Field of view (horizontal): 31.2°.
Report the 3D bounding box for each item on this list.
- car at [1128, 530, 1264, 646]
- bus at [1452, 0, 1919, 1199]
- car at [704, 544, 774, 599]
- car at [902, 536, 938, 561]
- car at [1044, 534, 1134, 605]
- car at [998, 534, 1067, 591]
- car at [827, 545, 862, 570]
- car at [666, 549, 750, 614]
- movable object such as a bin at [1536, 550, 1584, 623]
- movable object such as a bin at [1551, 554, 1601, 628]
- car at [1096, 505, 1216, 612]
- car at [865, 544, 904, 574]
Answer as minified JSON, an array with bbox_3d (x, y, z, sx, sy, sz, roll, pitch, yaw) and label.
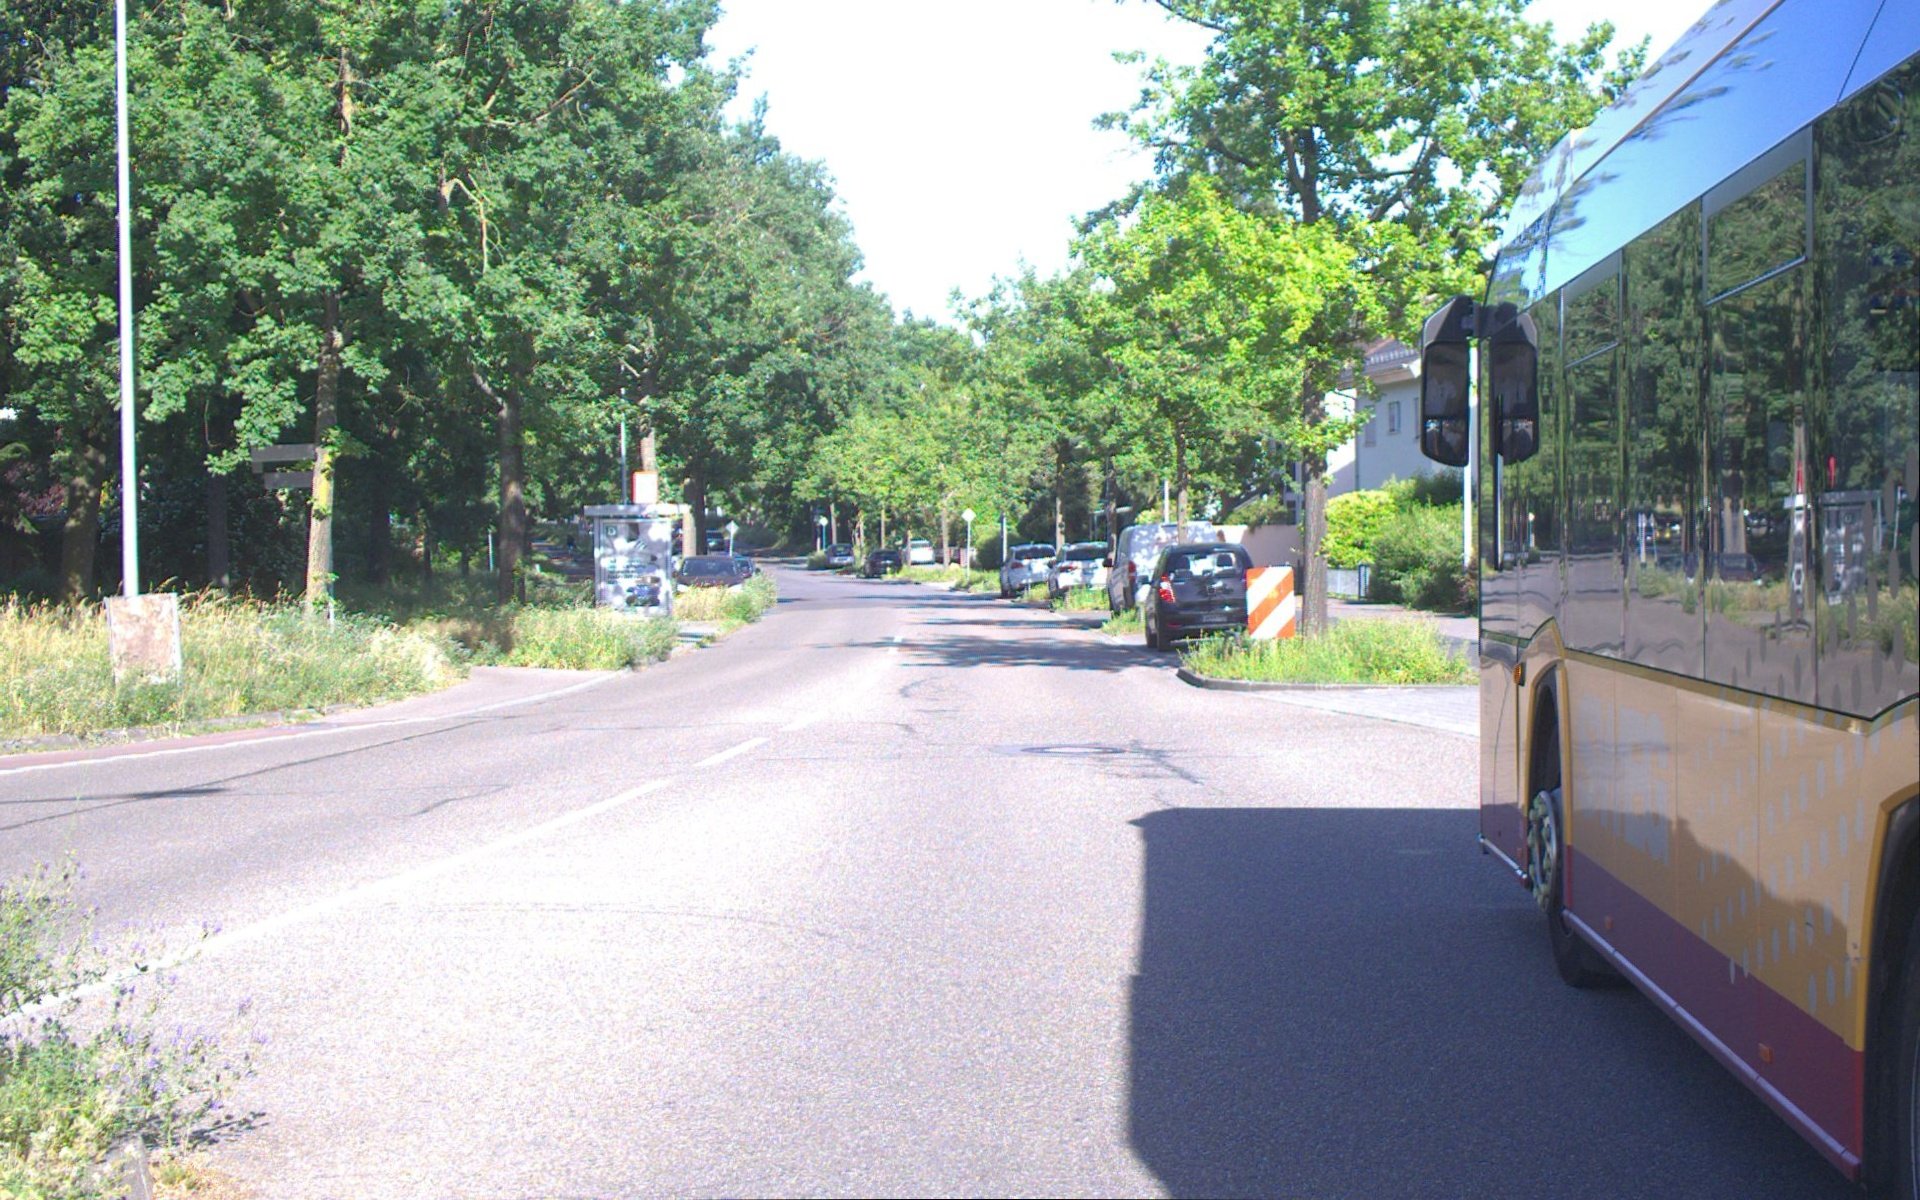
[{"bbox_3d":[3.424,-0.207,50.354,1.672,1.573,3.752,-2,1,0],"label":"car"},{"bbox_3d":[2.997,-0.468,8.441,2.758,3.446,12.396,-2,0,5],"label":"bus"},{"bbox_3d":[-6.412,-0.835,99.431,1.993,1.551,4.001,0,1,-4],"label":"car"},{"bbox_3d":[-2.405,-3.083,203.885,1.933,1.449,4.001,-1,1,-3],"label":"car"},{"bbox_3d":[3.209,-0.774,86.080,1.935,1.698,4.000,-1,1,-2],"label":"car"},{"bbox_3d":[2.269,-1.186,108.622,1.933,1.736,4.000,-1,1,-2],"label":"car"},{"bbox_3d":[-6.834,-2.525,202.537,1.933,1.449,4.001,-1,1,-3],"label":"car"},{"bbox_3d":[-5.962,-0.458,81.635,1.935,1.474,4.001,-1,1,-4],"label":"car"},{"bbox_3d":[8.913,-0.208,51.087,0.603,1.065,0.567,-1,1,-1],"label":"movable object such as a bin"},{"bbox_3d":[9.006,-0.135,50.282,0.603,1.065,0.646,-1,1,-1],"label":"movable object such as a bin"},{"bbox_3d":[3.716,-0.797,65.980,1.835,1.964,4.759,-1,1,-2],"label":"car"},{"bbox_3d":[-3.909,-2.124,177.738,1.933,1.537,4.000,-1,1,-2],"label":"car"}]
